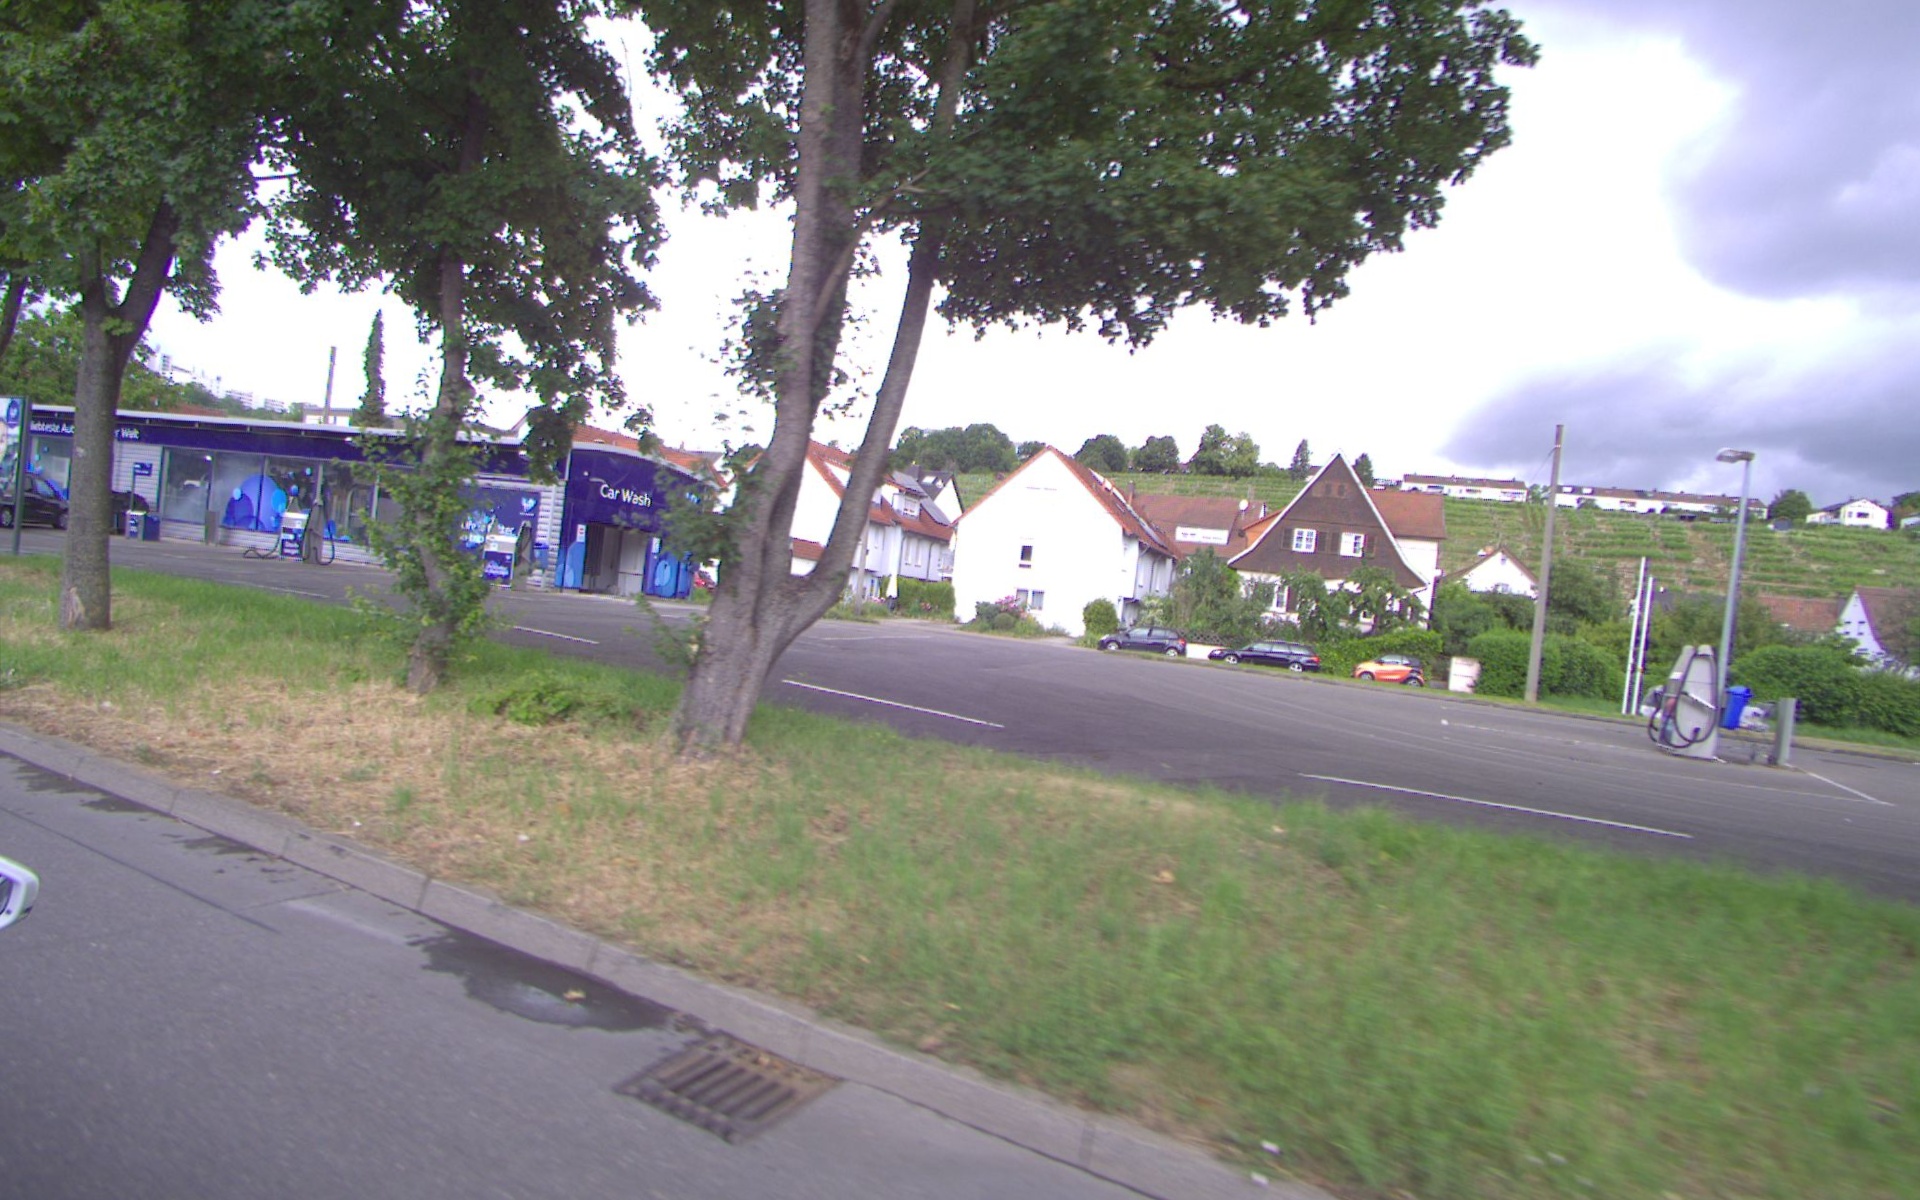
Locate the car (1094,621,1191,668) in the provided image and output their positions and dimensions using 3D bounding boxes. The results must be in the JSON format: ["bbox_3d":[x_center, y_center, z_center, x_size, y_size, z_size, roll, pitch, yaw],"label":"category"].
[{"bbox_3d":[8.024,1.959,44.176,3.924,1.481,2.003,7,-2,15],"label":"car"}]

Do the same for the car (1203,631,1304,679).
[{"bbox_3d":[12.469,2.353,42.977,3.924,1.481,2.003,7,-2,15],"label":"car"}]

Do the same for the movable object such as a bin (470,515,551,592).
[{"bbox_3d":[-11.948,-1.221,26.766,1.429,1.842,1.161,7,1,23],"label":"movable object such as a bin"}]

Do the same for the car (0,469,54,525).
[{"bbox_3d":[-32.960,-3.607,33.225,1.805,1.718,4.213,7,1,9],"label":"car"}]

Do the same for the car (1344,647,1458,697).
[{"bbox_3d":[18.215,2.997,41.754,3.924,1.481,2.003,7,-2,15],"label":"car"}]

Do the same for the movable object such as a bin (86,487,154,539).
[{"bbox_3d":[-28.052,-2.905,33.619,1.362,1.493,1.161,7,1,23],"label":"movable object such as a bin"}]

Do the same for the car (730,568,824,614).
[{"bbox_3d":[-8.806,-0.424,48.490,3.924,1.593,1.789,7,-2,10],"label":"car"}]

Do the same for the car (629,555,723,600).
[{"bbox_3d":[-13.995,-1.097,49.610,3.924,1.593,1.789,7,-2,11],"label":"car"}]

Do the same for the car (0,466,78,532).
[{"bbox_3d":[-29.734,-3.204,31.199,1.724,1.844,4.369,6,0,-16],"label":"car"}]

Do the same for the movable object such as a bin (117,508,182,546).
[{"bbox_3d":[-25.838,-2.330,32.085,1.167,0.988,1.161,7,1,23],"label":"movable object such as a bin"}]
